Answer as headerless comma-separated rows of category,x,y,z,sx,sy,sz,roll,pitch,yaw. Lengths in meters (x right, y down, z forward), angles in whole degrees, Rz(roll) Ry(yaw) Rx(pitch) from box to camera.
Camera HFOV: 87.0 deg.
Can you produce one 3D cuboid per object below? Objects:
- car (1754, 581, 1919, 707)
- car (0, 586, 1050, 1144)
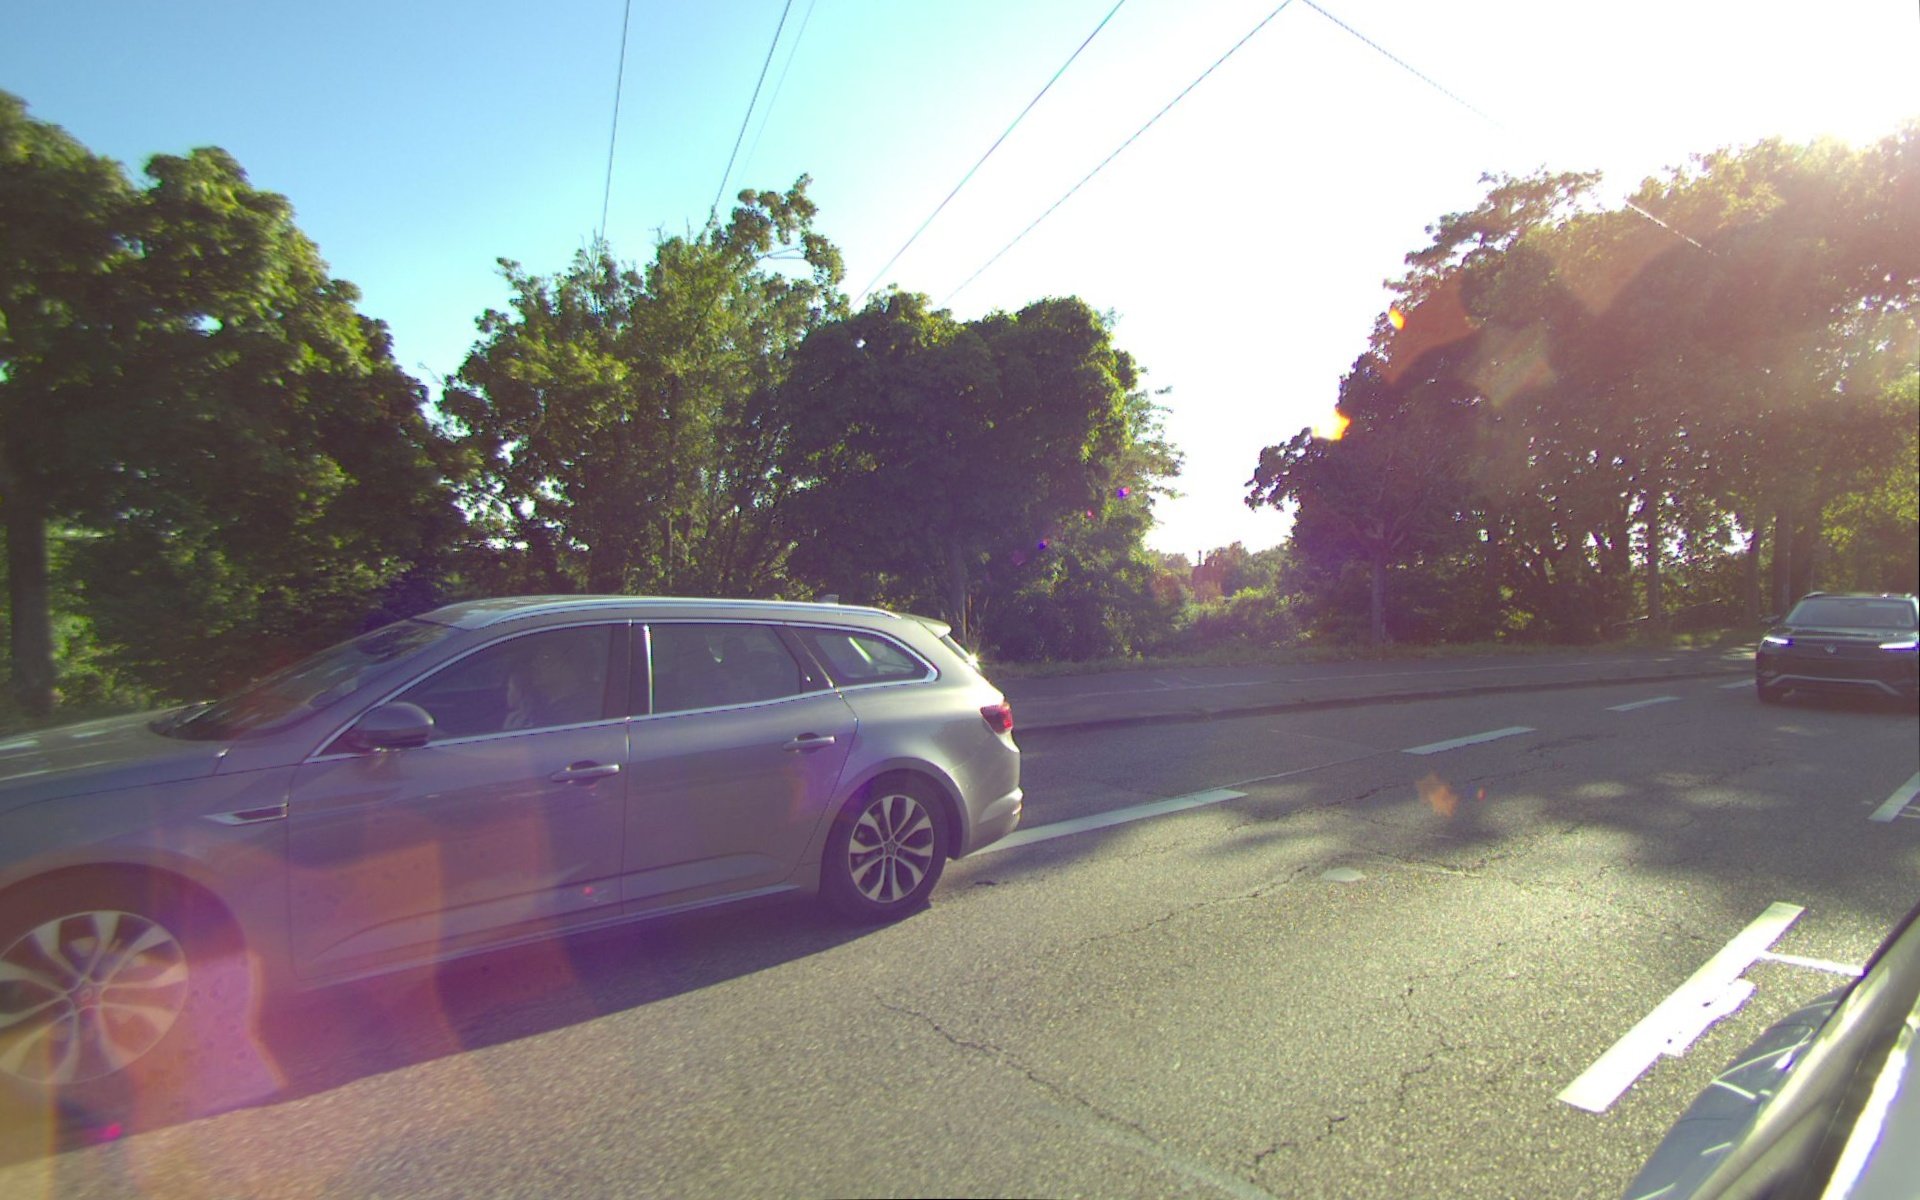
car,13.591,0.537,15.097,4.338,1.620,1.880,-1,1,-40
car,-1.905,0.683,4.421,4.576,1.461,1.881,-1,1,-39
